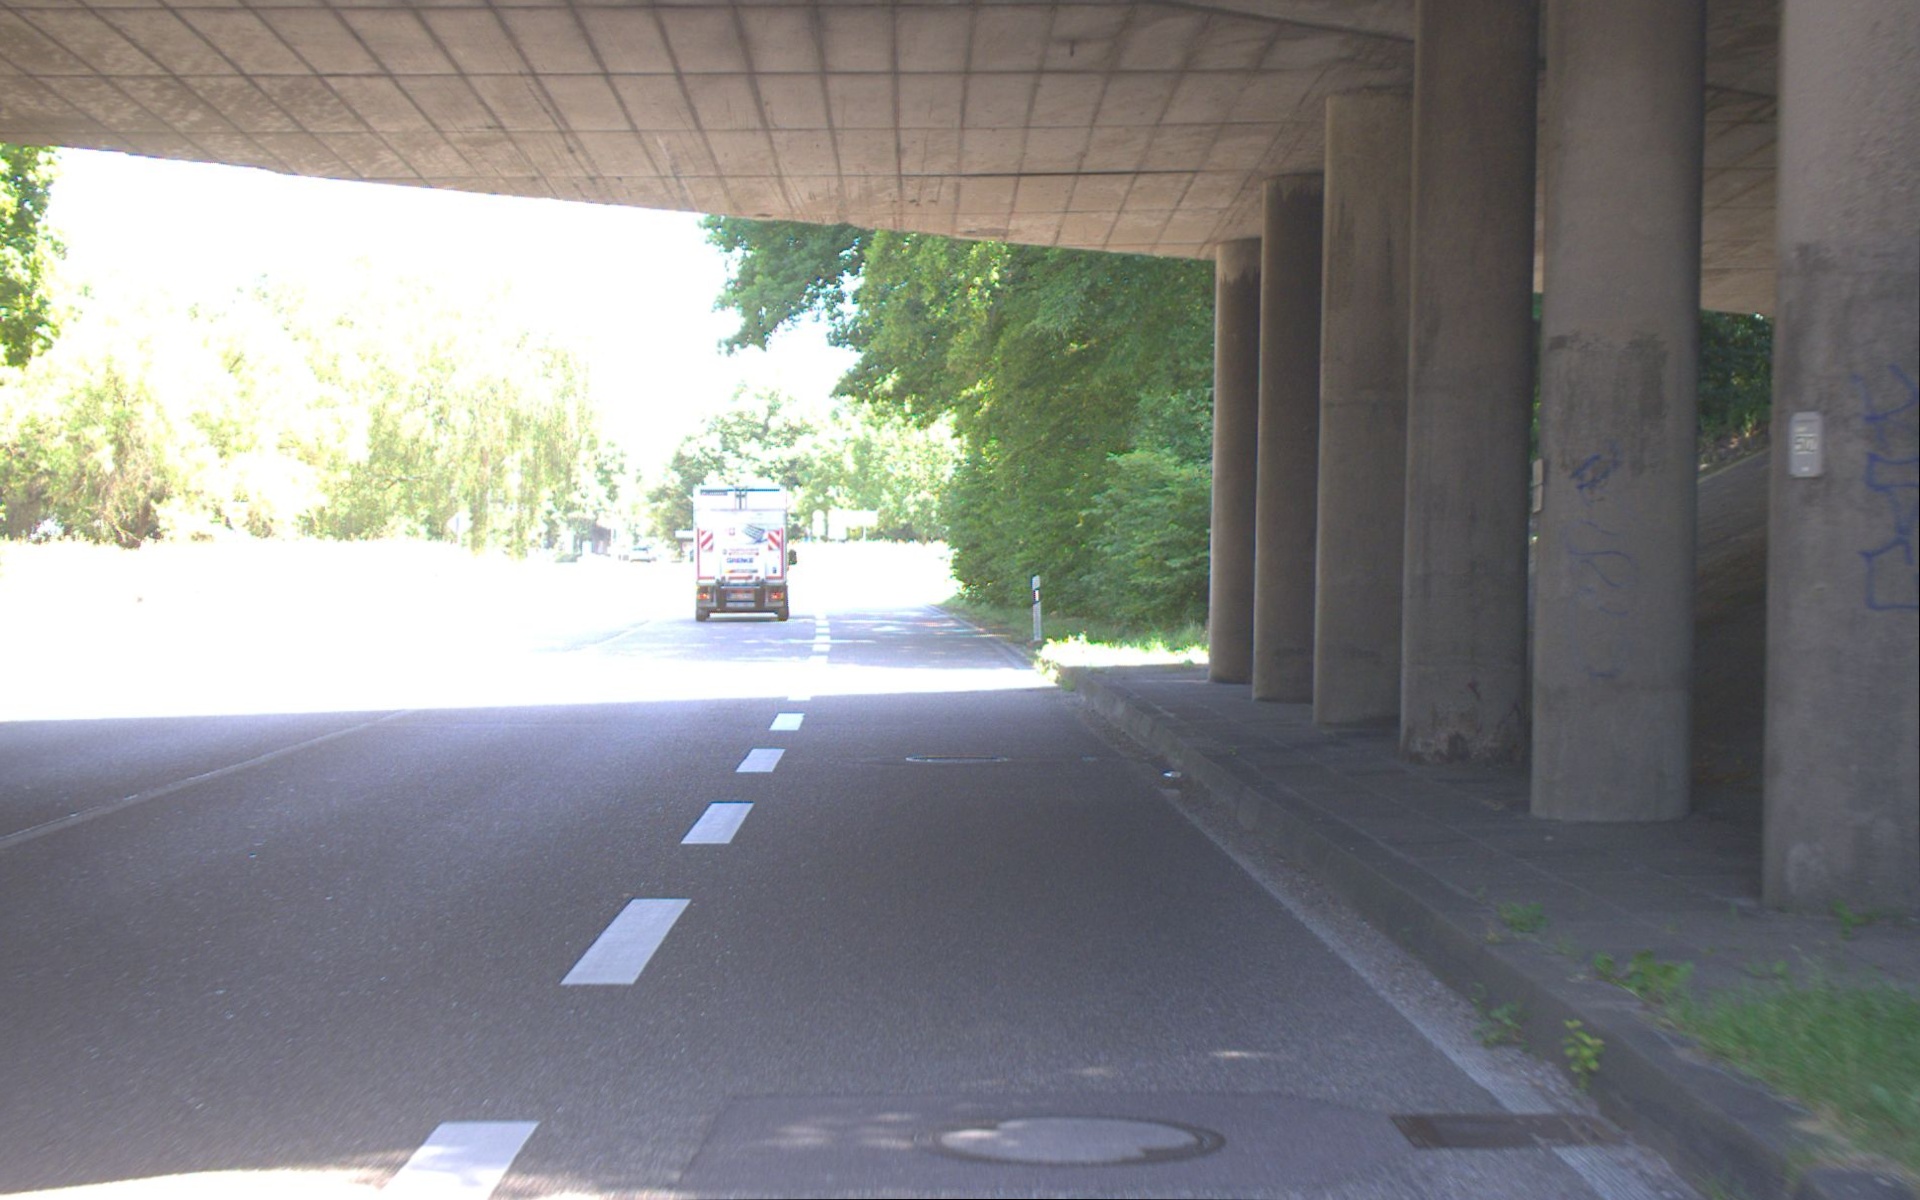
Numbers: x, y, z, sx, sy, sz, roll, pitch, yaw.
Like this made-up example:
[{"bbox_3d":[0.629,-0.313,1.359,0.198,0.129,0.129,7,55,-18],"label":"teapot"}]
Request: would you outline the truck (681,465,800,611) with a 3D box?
[{"bbox_3d":[-4.864,-1.405,76.326,2.533,3.124,5.362,0,2,-3],"label":"truck"}]
